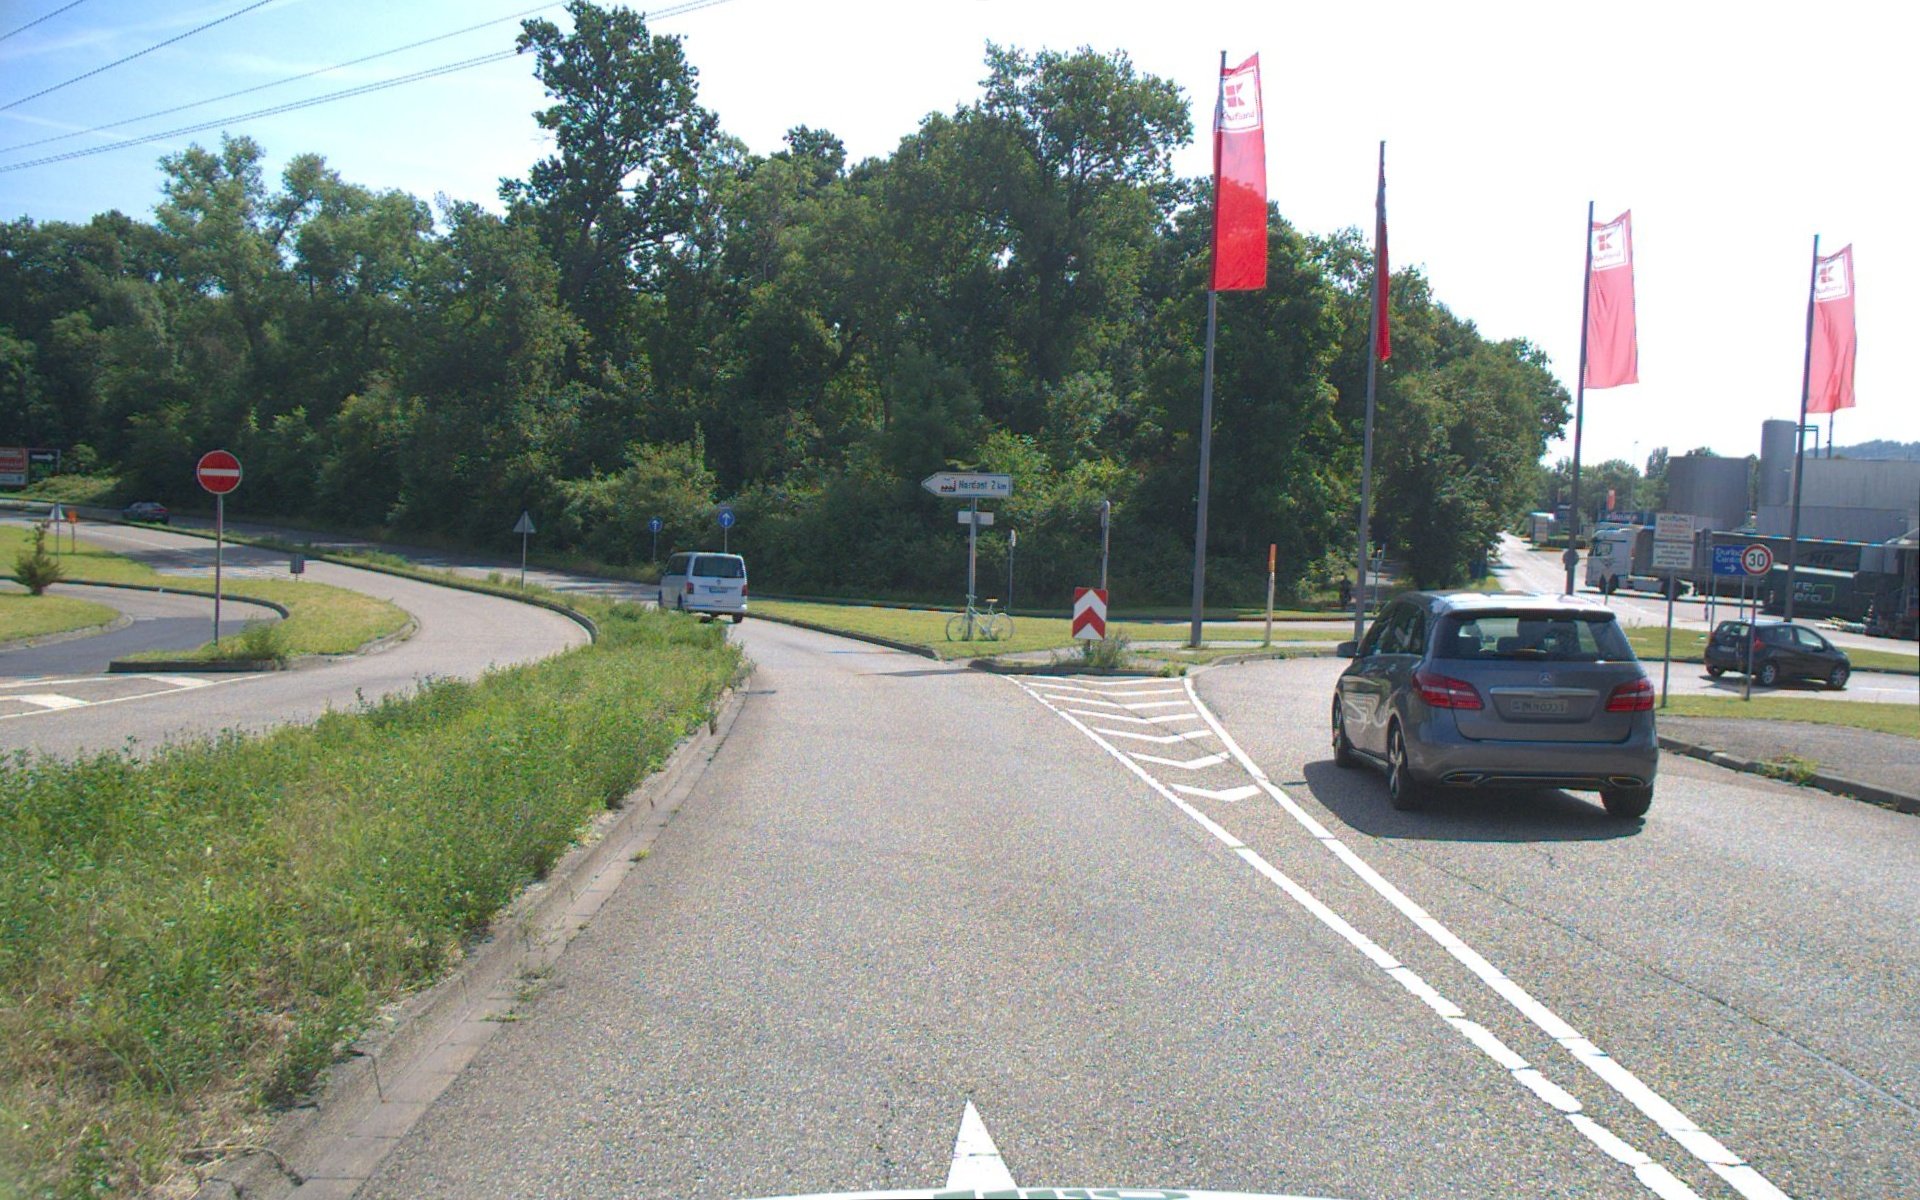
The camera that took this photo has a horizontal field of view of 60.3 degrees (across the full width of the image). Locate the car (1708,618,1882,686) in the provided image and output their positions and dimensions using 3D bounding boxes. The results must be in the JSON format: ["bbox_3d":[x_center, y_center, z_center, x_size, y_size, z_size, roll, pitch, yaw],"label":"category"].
[{"bbox_3d":[20.699,1.285,41.017,3.673,1.354,1.770,3,2,-20],"label":"car"}]

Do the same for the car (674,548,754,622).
[{"bbox_3d":[-7.303,-0.464,48.768,2.004,2.048,3.987,1,1,-13],"label":"car"}]

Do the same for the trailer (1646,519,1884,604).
[{"bbox_3d":[48.075,-2.428,99.131,12.432,4.491,3.753,3,4,28],"label":"trailer"}]

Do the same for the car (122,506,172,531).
[{"bbox_3d":[-56.133,-5.634,114.130,3.585,1.593,1.646,4,4,36],"label":"car"}]

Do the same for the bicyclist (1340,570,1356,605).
[{"bbox_3d":[18.078,-0.598,77.063,0.661,1.560,0.847,2,3,15],"label":"bicyclist"}]

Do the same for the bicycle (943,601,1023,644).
[{"bbox_3d":[0.502,0.473,35.634,1.760,0.904,0.269,0,1,-24],"label":"bicycle"}]

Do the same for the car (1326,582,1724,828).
[{"bbox_3d":[4.098,0.654,12.741,1.817,1.556,4.146,1,1,3],"label":"car"}]

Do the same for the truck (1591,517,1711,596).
[{"bbox_3d":[42.598,-2.765,101.966,6.421,4.491,3.753,3,4,27],"label":"truck"}]

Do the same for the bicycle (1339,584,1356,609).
[{"bbox_3d":[18.076,-0.172,77.105,0.708,0.994,2.189,3,4,14],"label":"bicycle"}]

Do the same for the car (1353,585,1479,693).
[{"bbox_3d":[7.704,0.599,28.239,1.817,1.555,4.147,5,2,13],"label":"car"}]
